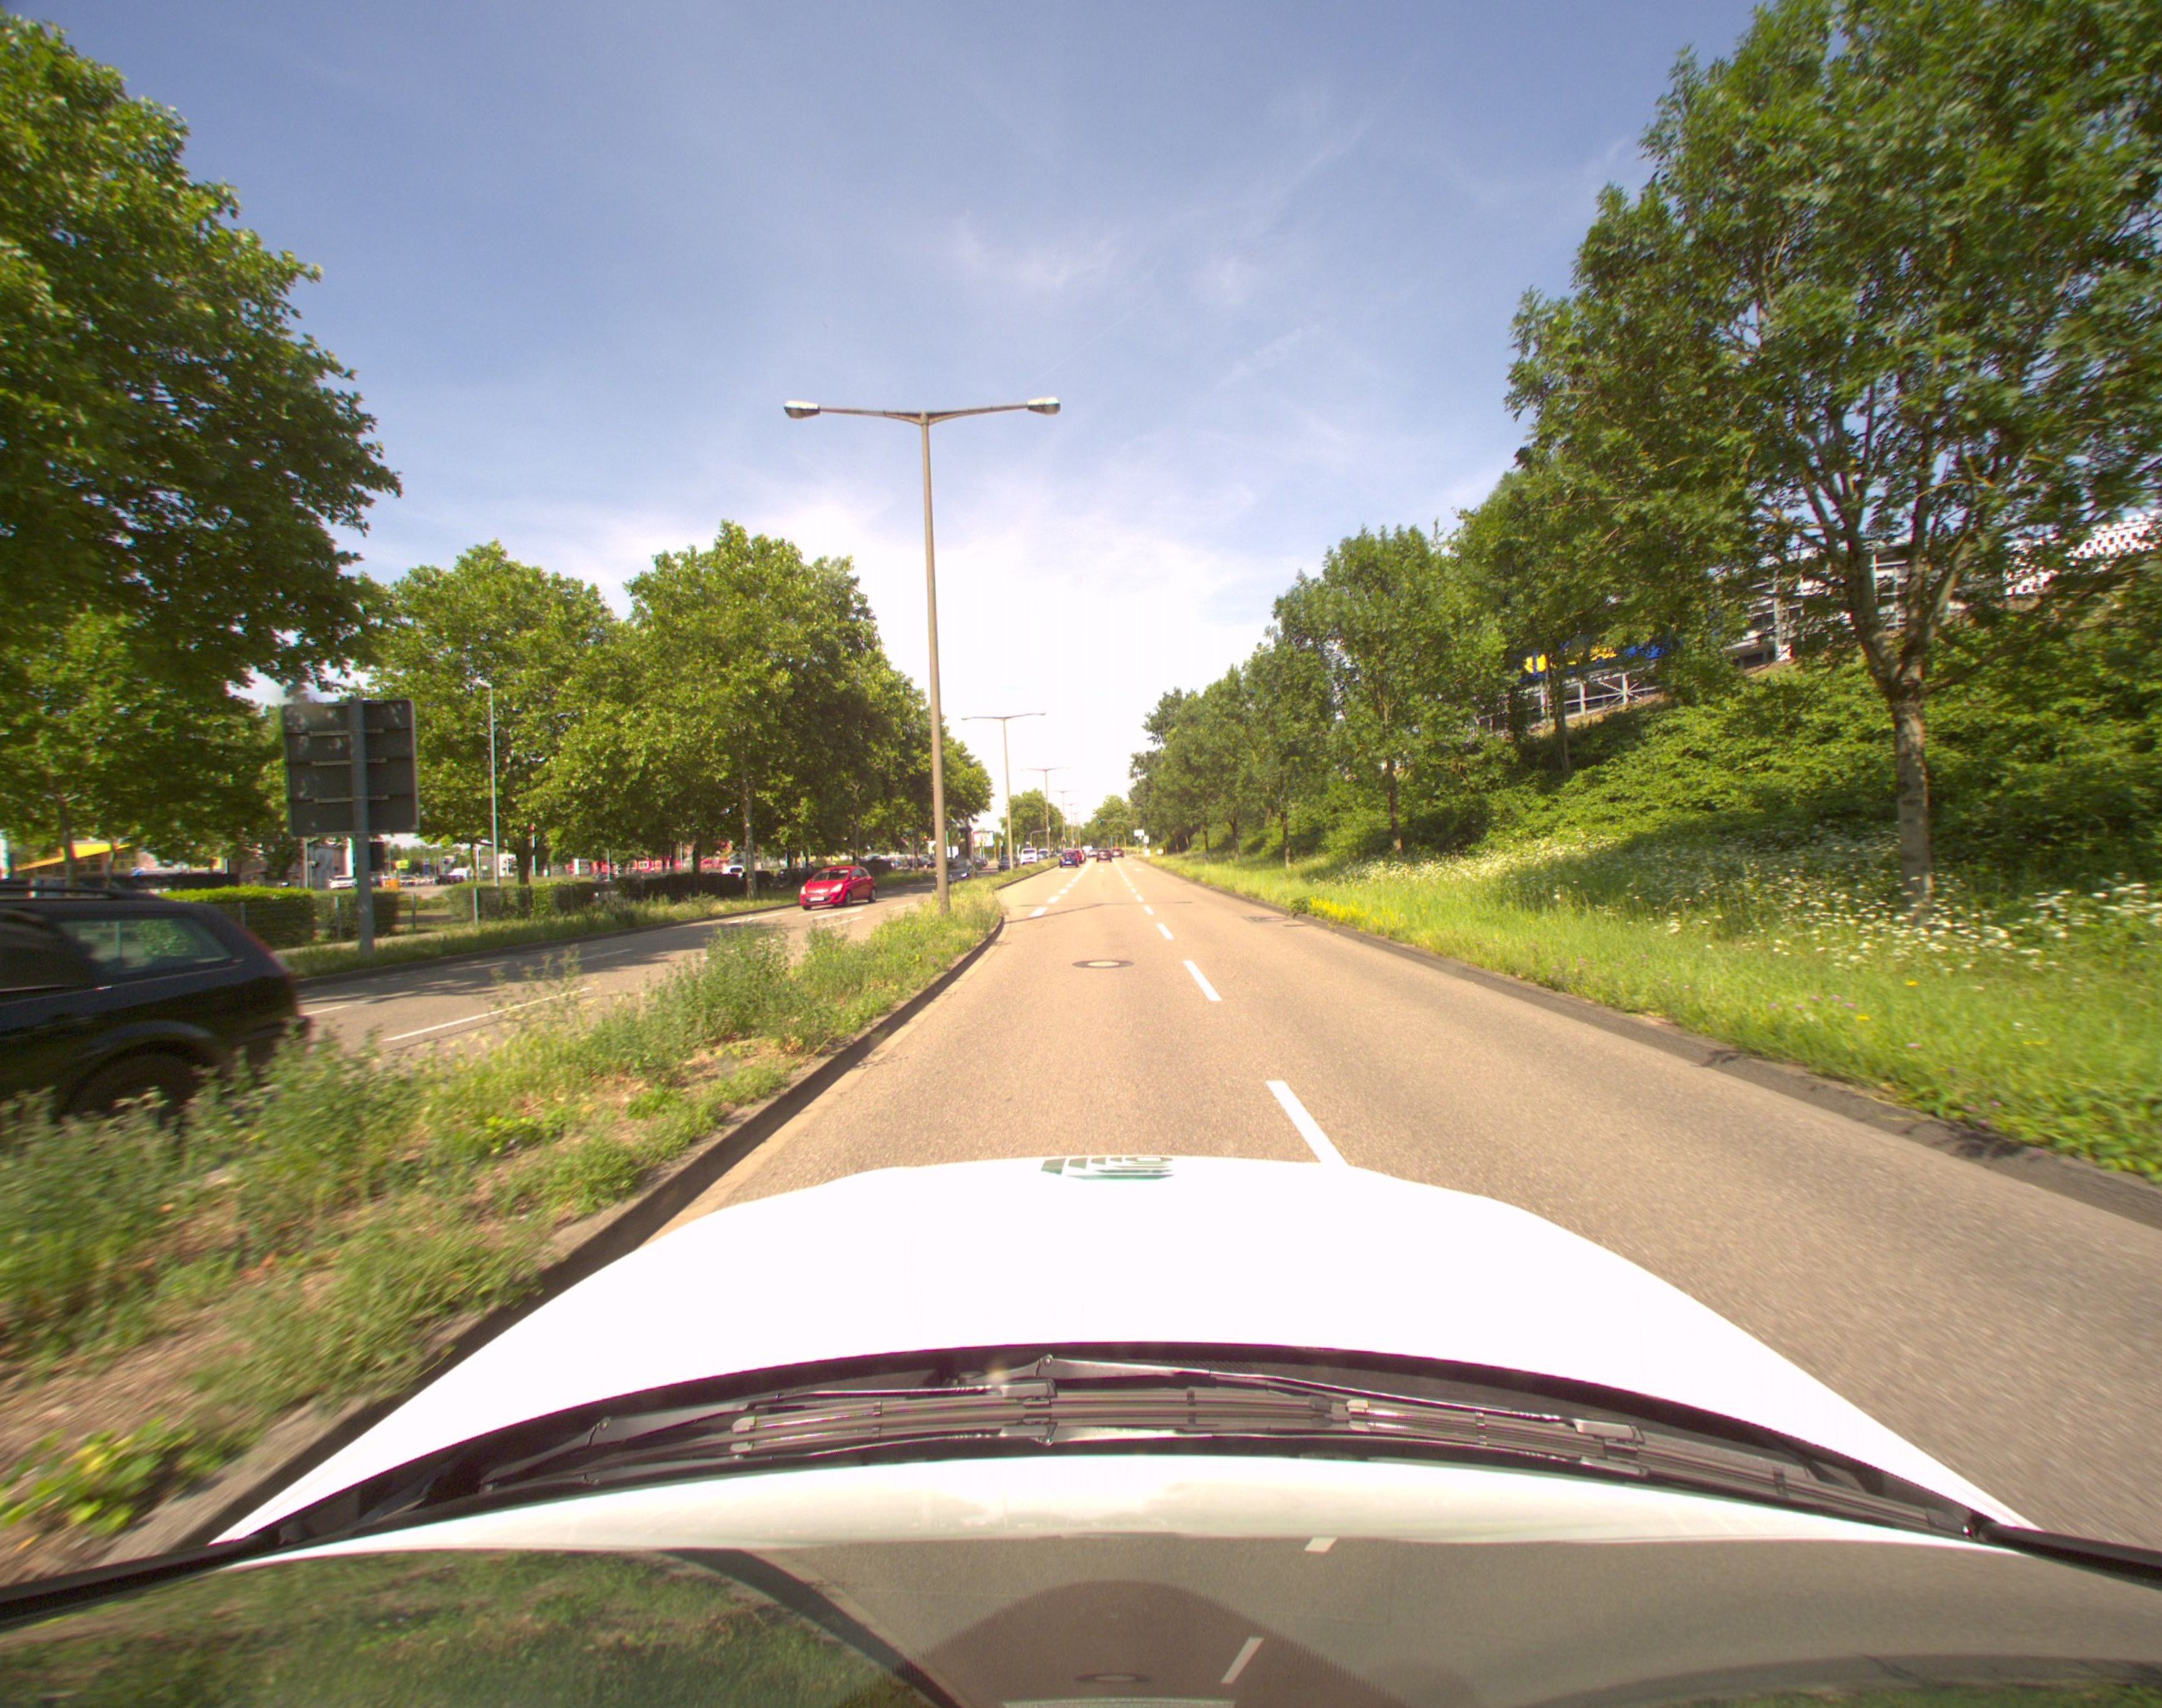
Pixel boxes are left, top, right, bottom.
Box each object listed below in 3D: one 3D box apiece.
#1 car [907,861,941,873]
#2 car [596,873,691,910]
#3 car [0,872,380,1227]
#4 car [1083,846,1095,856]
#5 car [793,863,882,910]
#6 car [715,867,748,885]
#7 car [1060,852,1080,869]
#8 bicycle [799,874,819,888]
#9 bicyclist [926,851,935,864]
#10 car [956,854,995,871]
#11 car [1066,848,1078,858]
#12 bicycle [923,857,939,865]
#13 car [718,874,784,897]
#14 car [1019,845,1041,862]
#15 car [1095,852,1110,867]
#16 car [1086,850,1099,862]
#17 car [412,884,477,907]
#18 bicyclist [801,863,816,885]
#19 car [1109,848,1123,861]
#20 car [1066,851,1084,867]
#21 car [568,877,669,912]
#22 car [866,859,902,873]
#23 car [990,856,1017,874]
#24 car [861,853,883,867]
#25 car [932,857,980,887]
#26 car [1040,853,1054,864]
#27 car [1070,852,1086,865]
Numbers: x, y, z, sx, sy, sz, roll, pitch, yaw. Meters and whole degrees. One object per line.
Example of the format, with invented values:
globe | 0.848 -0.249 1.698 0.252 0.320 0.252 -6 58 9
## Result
car | -19.808 1.622 102.839 3.949 1.388 1.776 -2 1 28
car | -23.668 2.031 44.180 3.968 1.823 2.159 -2 -1 5
car | -5.492 0.897 2.988 1.767 1.467 4.669 -3 0 -1
car | 1.565 -0.591 152.627 1.986 1.708 4.265 -2 0 2
car | -8.948 1.137 30.242 1.755 1.462 4.005 -4 0 4
car | -36.277 2.291 84.450 2.010 1.665 4.789 -3 0 -38
car | -0.990 0.616 75.357 1.620 1.483 4.049 -1 0 1
bicycle | -18.960 1.857 56.830 0.687 0.866 1.927 -3 0 2
bicyclist | -20.795 0.424 112.294 0.904 1.715 0.774 -3 3 -35
car | -12.853 1.042 98.955 4.343 1.750 1.881 -3 0 31
car | -1.756 -0.260 157.144 1.985 1.860 4.003 -2 0 3
bicycle | -20.696 0.951 112.413 1.962 0.983 0.781 -3 3 -35
car | -23.704 2.255 58.607 3.979 1.414 1.802 -2 -1 -4
car | -6.115 -0.024 97.984 2.110 1.883 5.419 -3 0 0
car | 2.638 0.621 98.671 1.730 1.535 4.003 -2 2 2
car | 1.895 0.334 130.591 1.986 1.744 4.267 -3 0 2
car | -47.321 3.101 60.552 3.955 1.504 1.814 -1 2 17
bicyclist | -18.984 1.398 56.760 0.679 1.485 0.942 -3 0 1
car | 5.353 0.080 125.986 2.010 1.837 4.003 -2 2 2
car | -0.653 0.539 89.868 1.776 1.593 4.594 -1 0 1
car | -23.212 2.025 40.964 3.971 1.464 1.773 -3 0 2
car | -25.333 1.551 104.860 4.121 1.603 1.729 -3 0 13
car | -6.960 0.967 73.398 1.762 1.469 4.285 -3 0 2
car | -39.745 1.166 154.746 2.011 2.532 4.583 -3 0 -42
car | -6.753 0.955 44.312 1.833 1.478 4.167 -3 0 1
car | -5.525 0.736 133.443 1.986 1.530 4.684 -3 0 2
car | -0.291 0.475 96.622 1.760 1.479 4.136 -1 0 1
